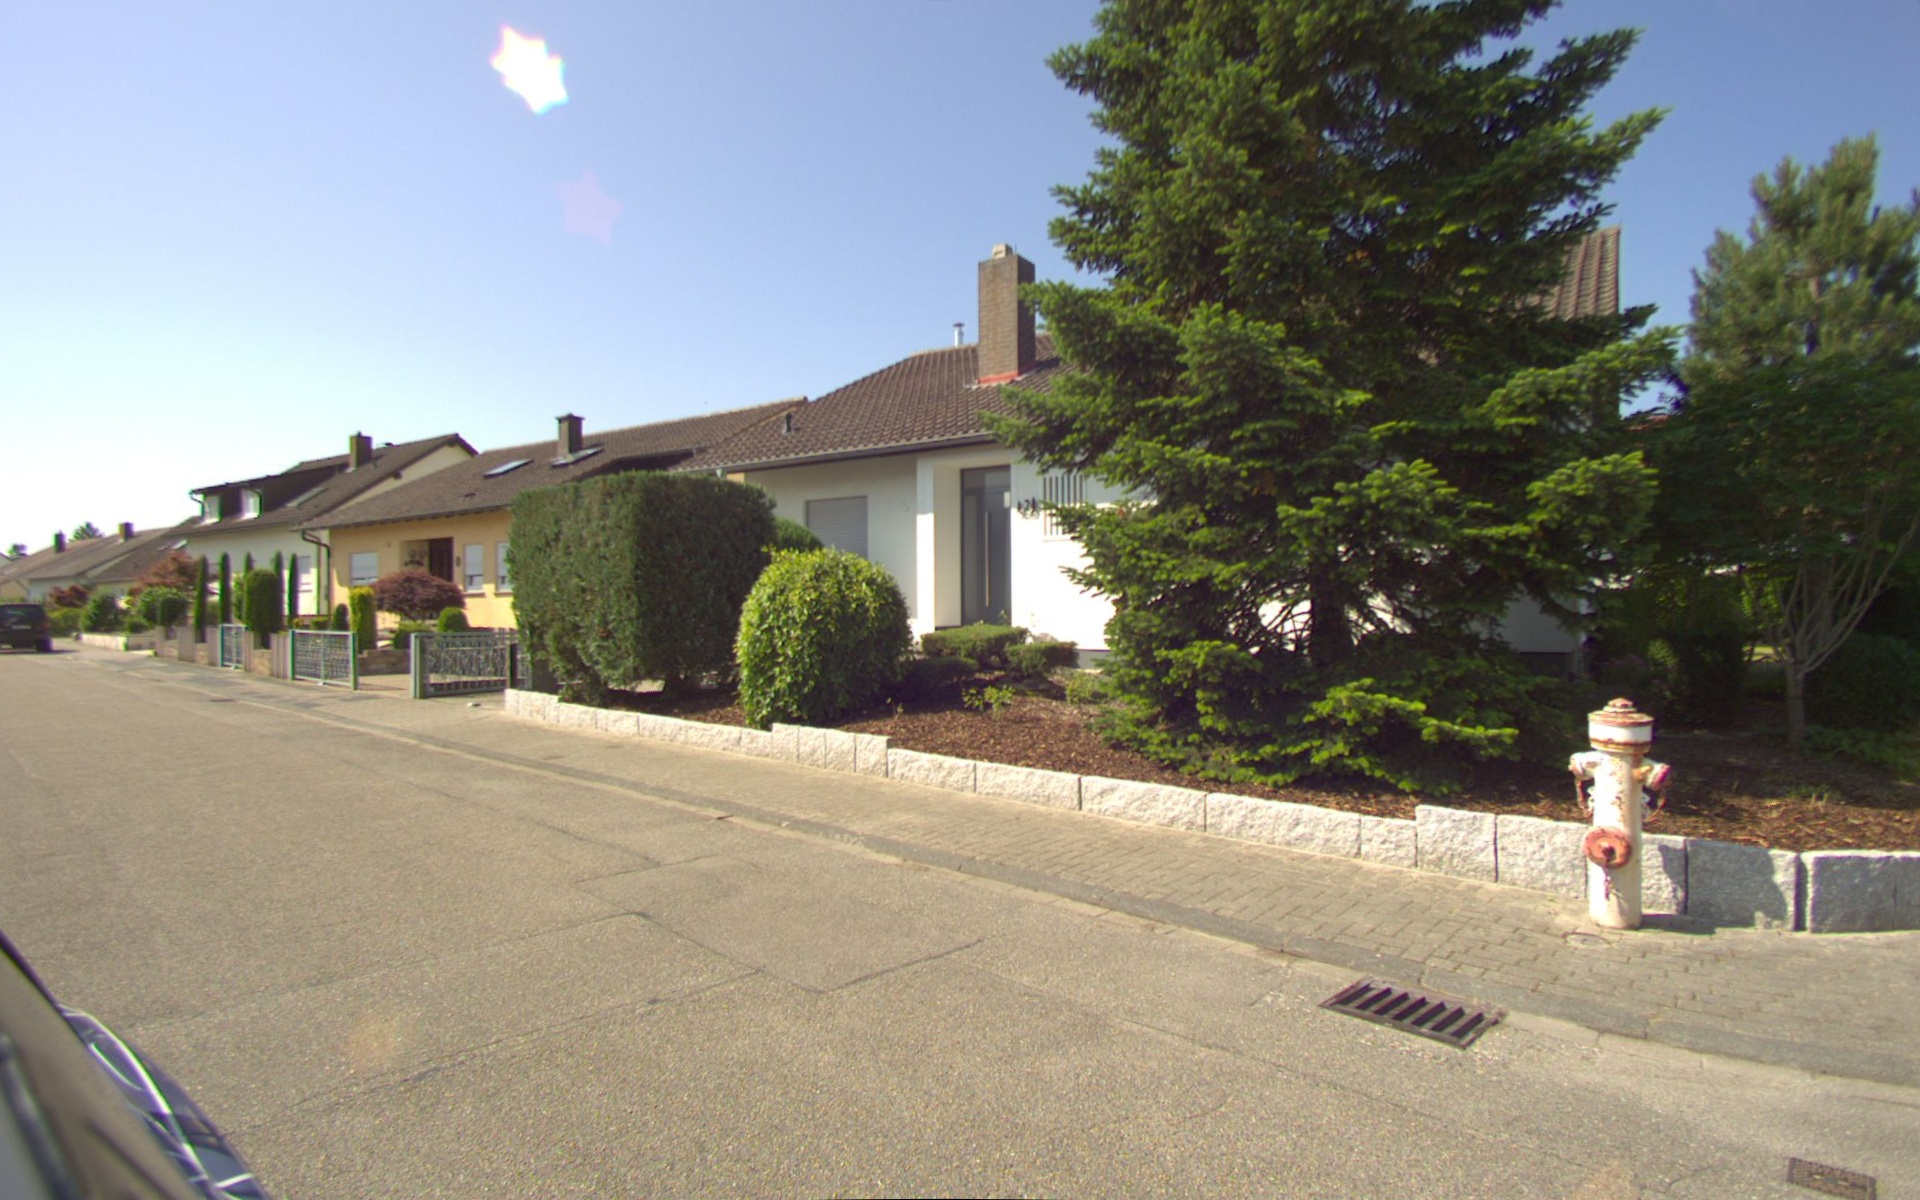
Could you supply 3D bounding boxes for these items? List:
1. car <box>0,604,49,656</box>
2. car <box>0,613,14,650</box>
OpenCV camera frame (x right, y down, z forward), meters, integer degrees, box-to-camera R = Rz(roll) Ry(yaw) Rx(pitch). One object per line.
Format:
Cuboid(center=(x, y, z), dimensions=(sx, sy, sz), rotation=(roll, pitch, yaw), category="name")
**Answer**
Cuboid(center=(-34.178, 1.068, 36.426), dimensions=(3.652, 1.791, 1.745), rotation=(-1, 0, 43), category="car")
Cuboid(center=(-38.291, 1.233, 39.876), dimensions=(3.104, 1.434, 1.288), rotation=(-1, 0, 43), category="car")
